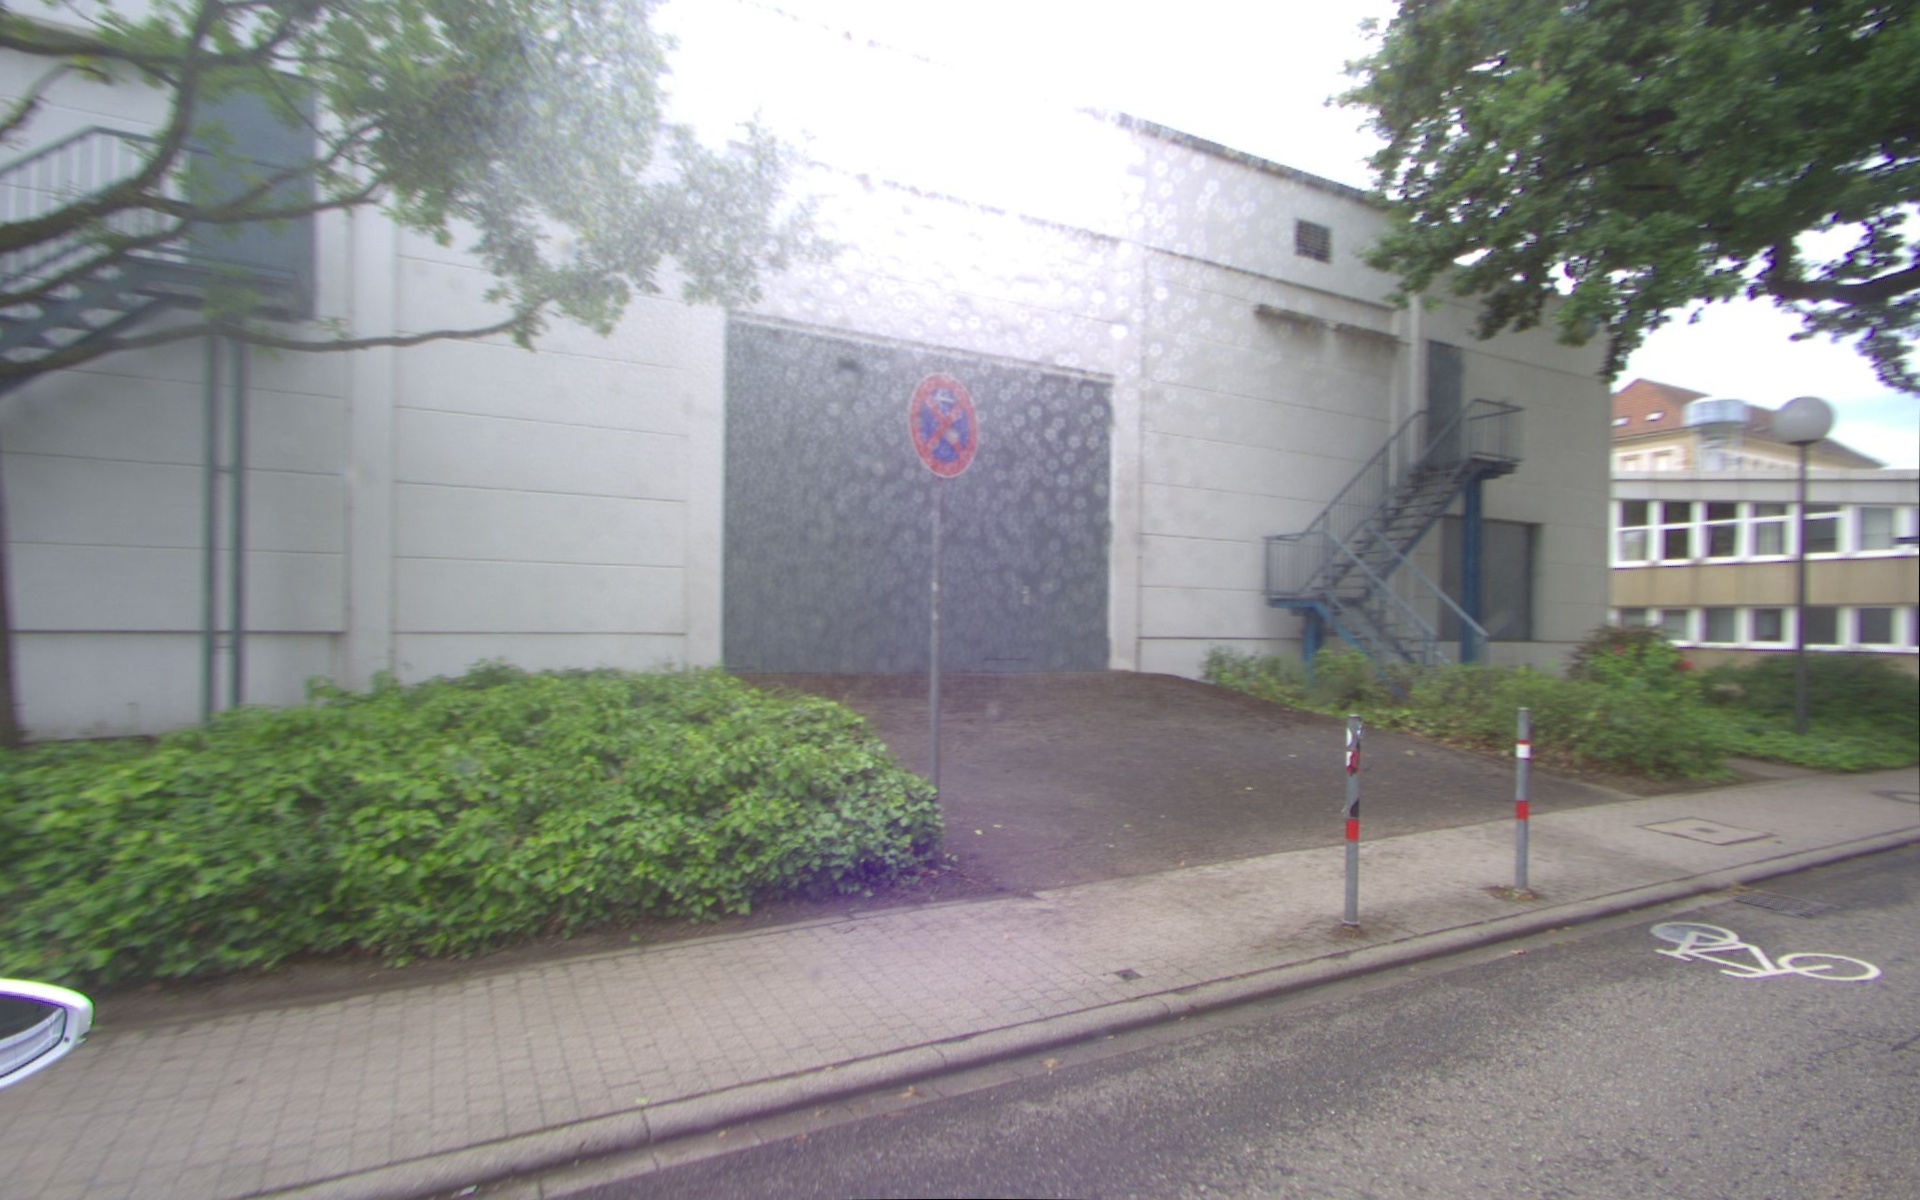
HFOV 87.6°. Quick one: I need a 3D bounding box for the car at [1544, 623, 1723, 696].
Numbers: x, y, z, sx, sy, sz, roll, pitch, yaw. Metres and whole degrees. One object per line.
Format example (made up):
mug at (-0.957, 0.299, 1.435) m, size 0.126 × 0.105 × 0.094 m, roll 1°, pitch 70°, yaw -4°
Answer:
car at (15.631, 1.340, 23.214) m, size 3.942 × 1.550 × 1.860 m, roll 1°, pitch -1°, yaw -29°
